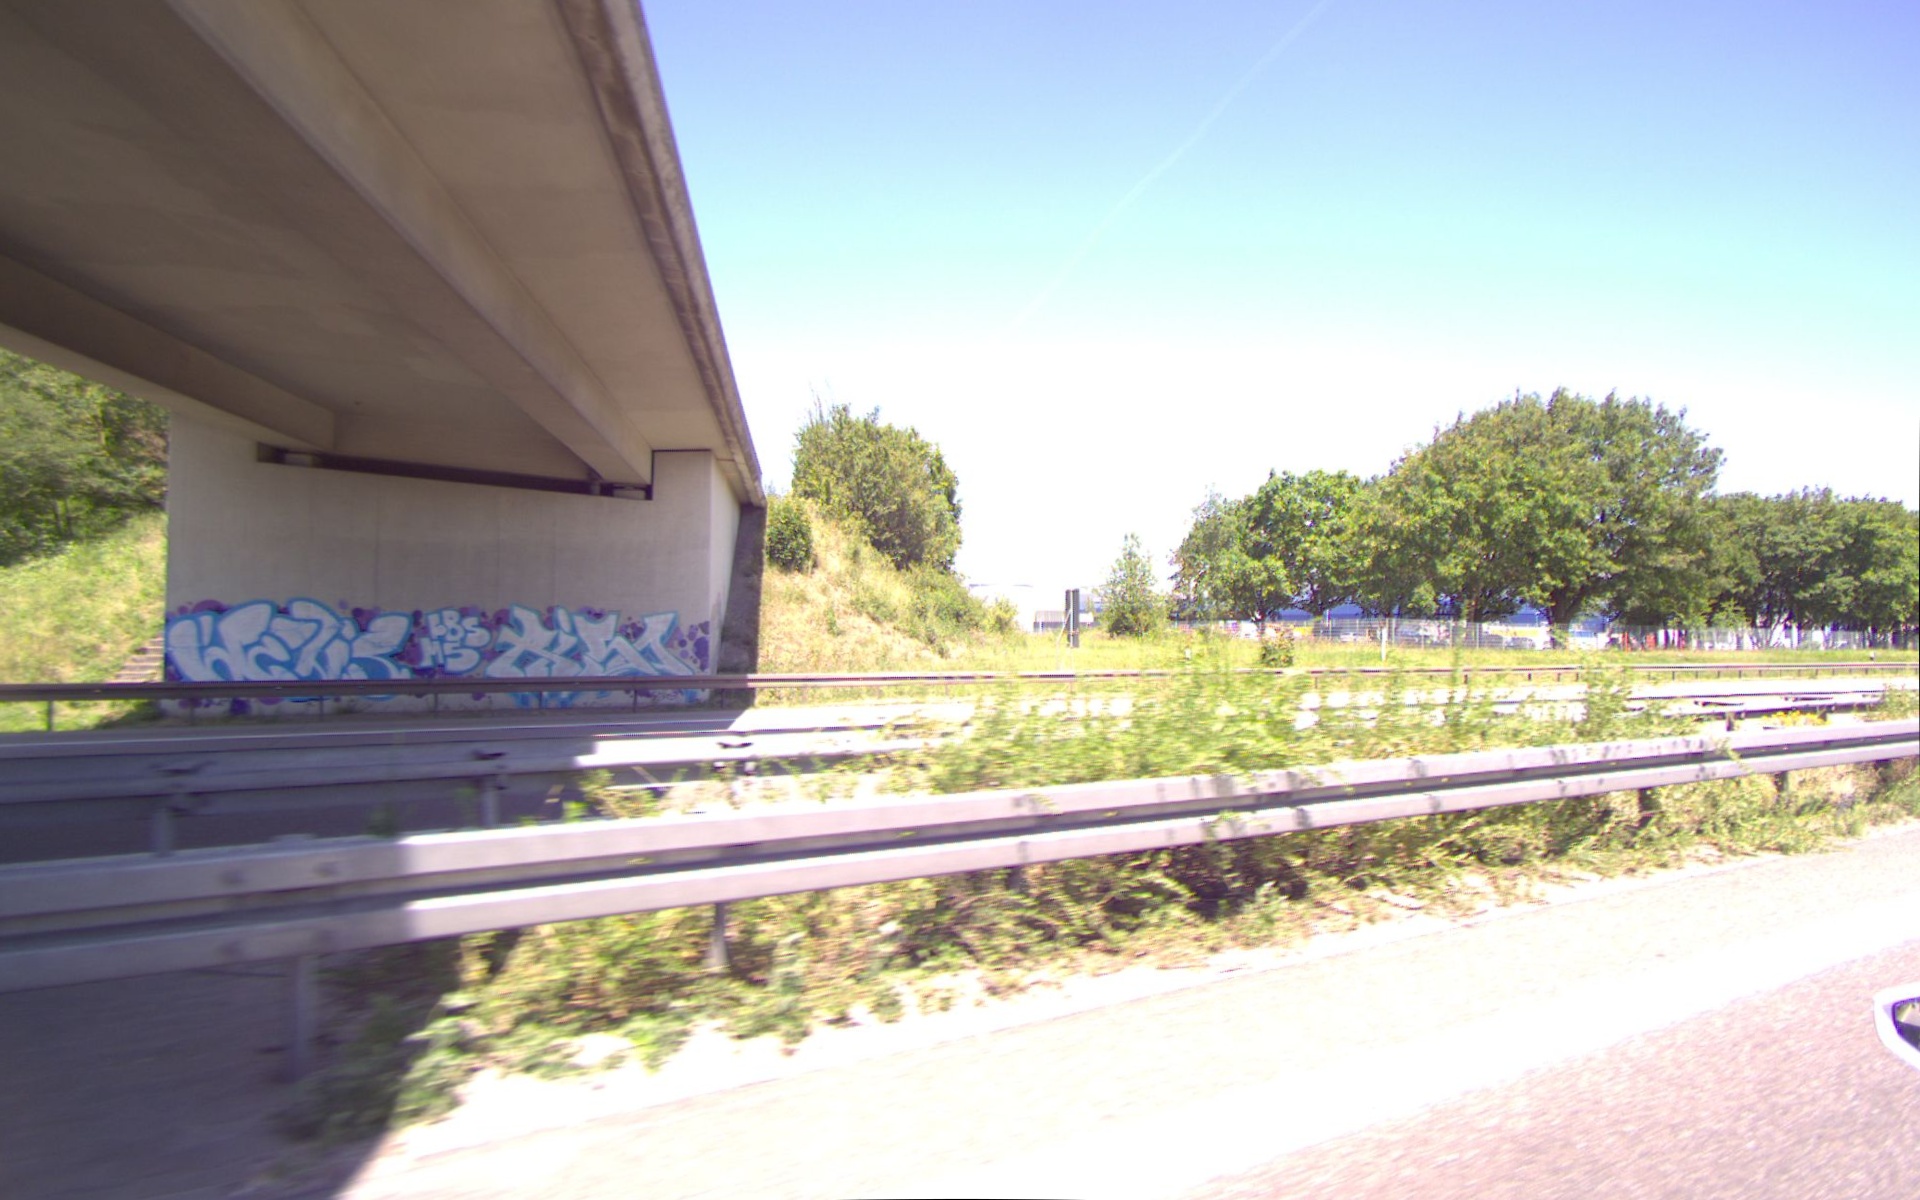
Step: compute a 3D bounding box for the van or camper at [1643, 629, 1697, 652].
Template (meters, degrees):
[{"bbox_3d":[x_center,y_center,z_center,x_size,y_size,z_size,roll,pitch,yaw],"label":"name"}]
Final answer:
[{"bbox_3d":[85.133,4.876,120.372,7.636,2.585,2.346,2,-2,-31],"label":"van or camper"}]
